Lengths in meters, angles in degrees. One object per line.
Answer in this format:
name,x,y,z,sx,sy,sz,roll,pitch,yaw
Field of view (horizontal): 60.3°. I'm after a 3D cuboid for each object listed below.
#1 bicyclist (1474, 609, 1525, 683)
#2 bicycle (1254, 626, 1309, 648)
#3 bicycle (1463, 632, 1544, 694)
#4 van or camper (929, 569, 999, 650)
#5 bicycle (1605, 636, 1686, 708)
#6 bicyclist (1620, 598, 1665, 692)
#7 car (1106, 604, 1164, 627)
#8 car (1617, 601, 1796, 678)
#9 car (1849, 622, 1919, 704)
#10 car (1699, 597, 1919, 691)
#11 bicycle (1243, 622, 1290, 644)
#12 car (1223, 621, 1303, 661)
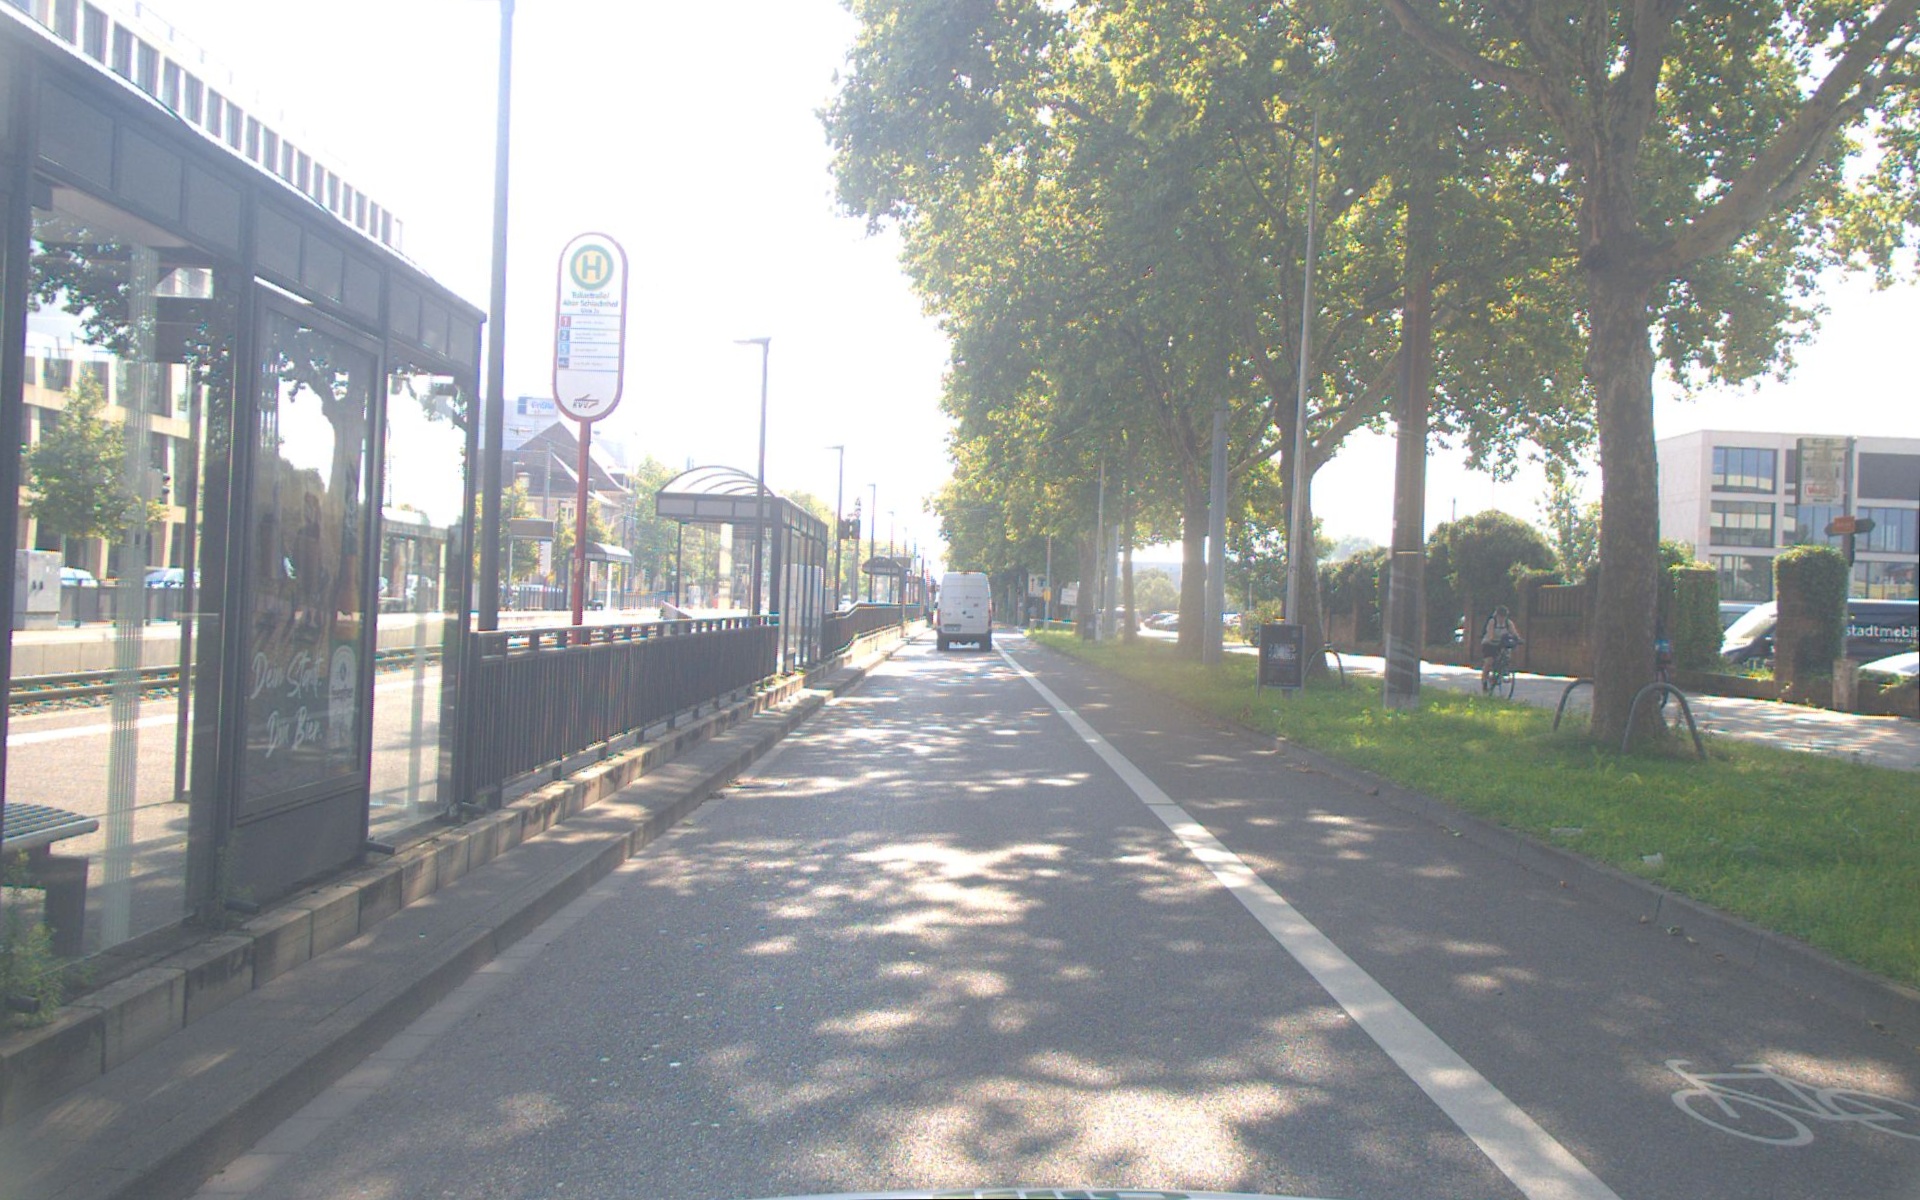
bicyclist,9.715,0.823,29.816,0.656,1.298,0.728,1,0,-1
bicycle,13.169,1.508,67.706,2.135,0.861,0.503,1,0,0
bicycle,9.738,1.110,29.718,0.667,1.023,2.217,1,0,-1
van or camper,0.086,0.318,58.874,2.074,2.729,5.246,1,0,-4
bicycle,11.564,1.198,27.967,0.481,1.108,1.856,2,0,-3
bicyclist,11.573,0.756,28.047,0.460,1.566,0.596,2,0,-3
car,12.770,1.147,120.796,3.906,1.400,1.999,3,-1,-1
car,19.334,1.007,42.916,3.922,1.875,1.560,2,0,-3
car,18.631,1.185,30.295,3.907,1.428,1.503,2,0,-3
car,18.810,0.956,36.604,4.187,1.926,1.560,2,0,-3
bicycle,13.014,1.407,70.276,1.893,0.861,0.372,2,0,0
car,16.423,2.232,89.877,3.906,1.914,1.999,3,-1,-1
